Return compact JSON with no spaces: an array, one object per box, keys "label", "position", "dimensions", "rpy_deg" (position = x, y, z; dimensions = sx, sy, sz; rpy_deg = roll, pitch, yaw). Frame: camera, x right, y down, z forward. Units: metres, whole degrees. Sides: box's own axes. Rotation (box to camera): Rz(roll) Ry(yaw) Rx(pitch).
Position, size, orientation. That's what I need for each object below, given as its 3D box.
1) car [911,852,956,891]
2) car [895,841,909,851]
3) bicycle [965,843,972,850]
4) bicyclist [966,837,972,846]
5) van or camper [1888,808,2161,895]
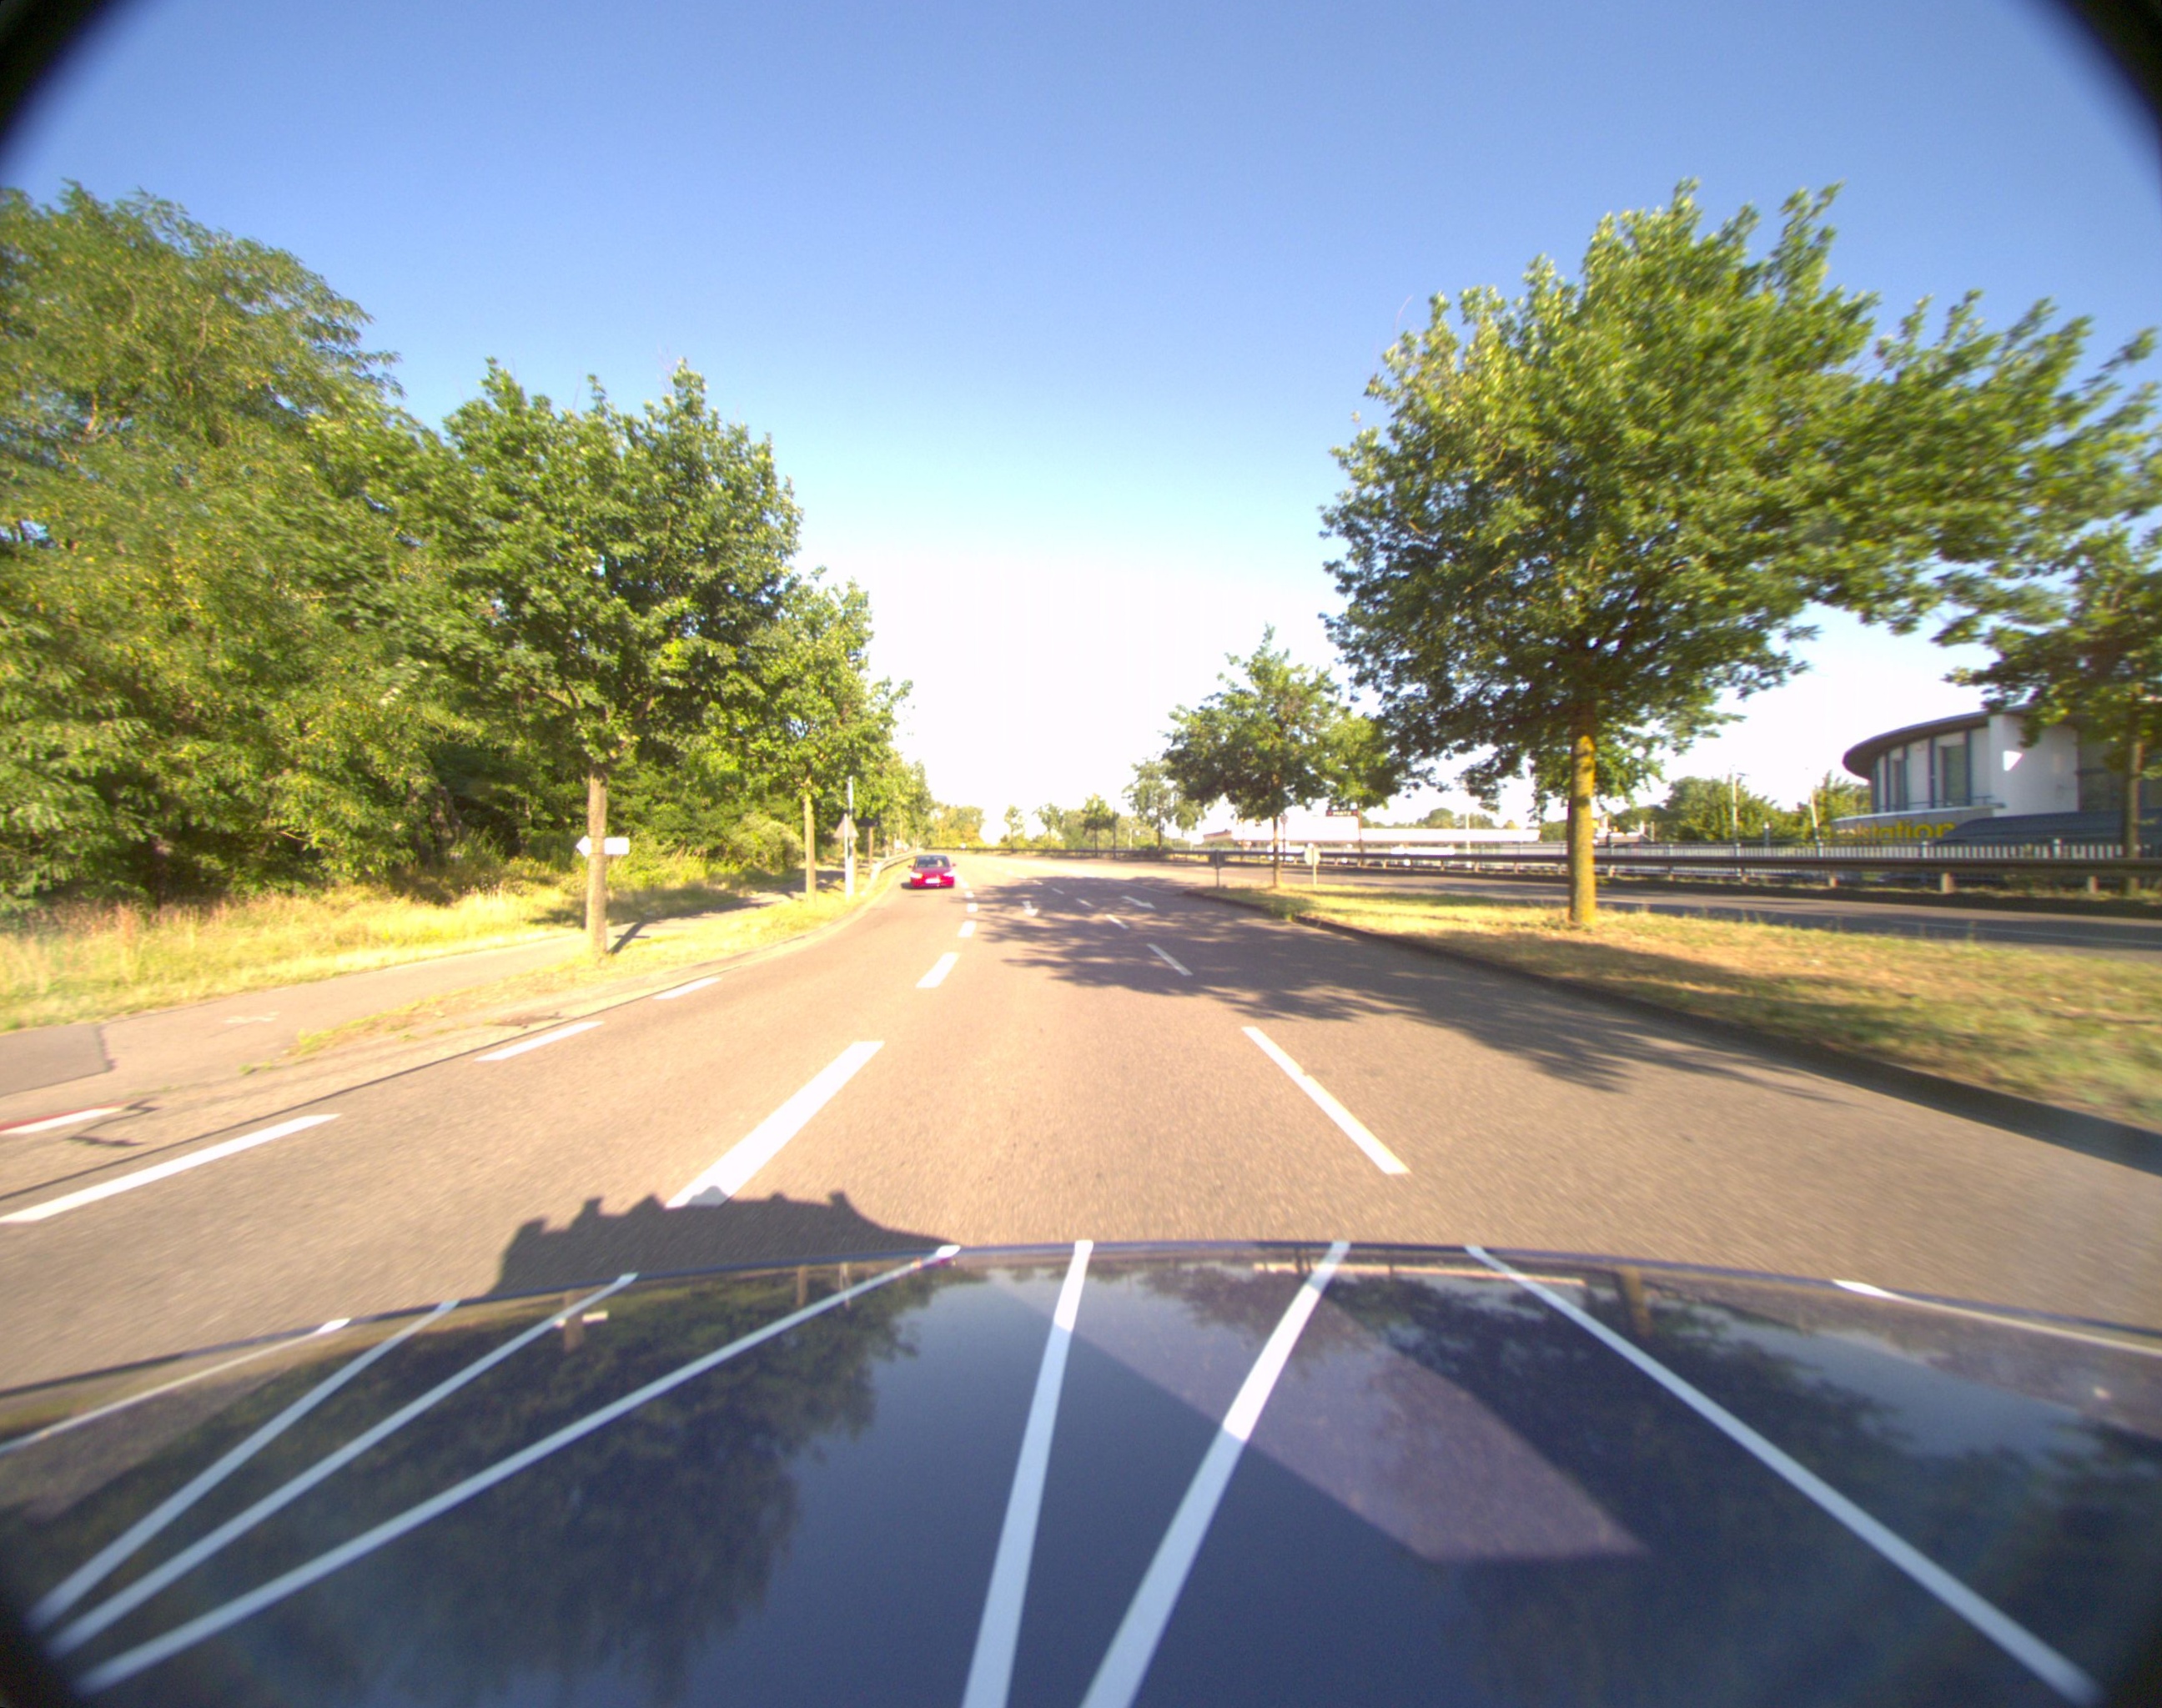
[{"label":"car","position":[-6.415,0.701,33.204],"dimensions":[1.783,1.434,4.354],"rpy_deg":[-2,2,-10]},{"label":"car","position":[-35.556,-1.612,151.139],"dimensions":[1.886,2.003,5.248],"rpy_deg":[-2,3,-22]},{"label":"bicycle","position":[-18.188,-1.180,122.790],"dimensions":[0.585,1.071,2.308],"rpy_deg":[1,1,-22]},{"label":"bicyclist","position":[-18.078,-2.077,122.607],"dimensions":[0.602,1.451,0.826],"rpy_deg":[1,2,-22]},{"label":"van or camper","position":[21.463,-0.091,16.679],"dimensions":[1.999,1.676,4.957],"rpy_deg":[-1,1,-5]}]
